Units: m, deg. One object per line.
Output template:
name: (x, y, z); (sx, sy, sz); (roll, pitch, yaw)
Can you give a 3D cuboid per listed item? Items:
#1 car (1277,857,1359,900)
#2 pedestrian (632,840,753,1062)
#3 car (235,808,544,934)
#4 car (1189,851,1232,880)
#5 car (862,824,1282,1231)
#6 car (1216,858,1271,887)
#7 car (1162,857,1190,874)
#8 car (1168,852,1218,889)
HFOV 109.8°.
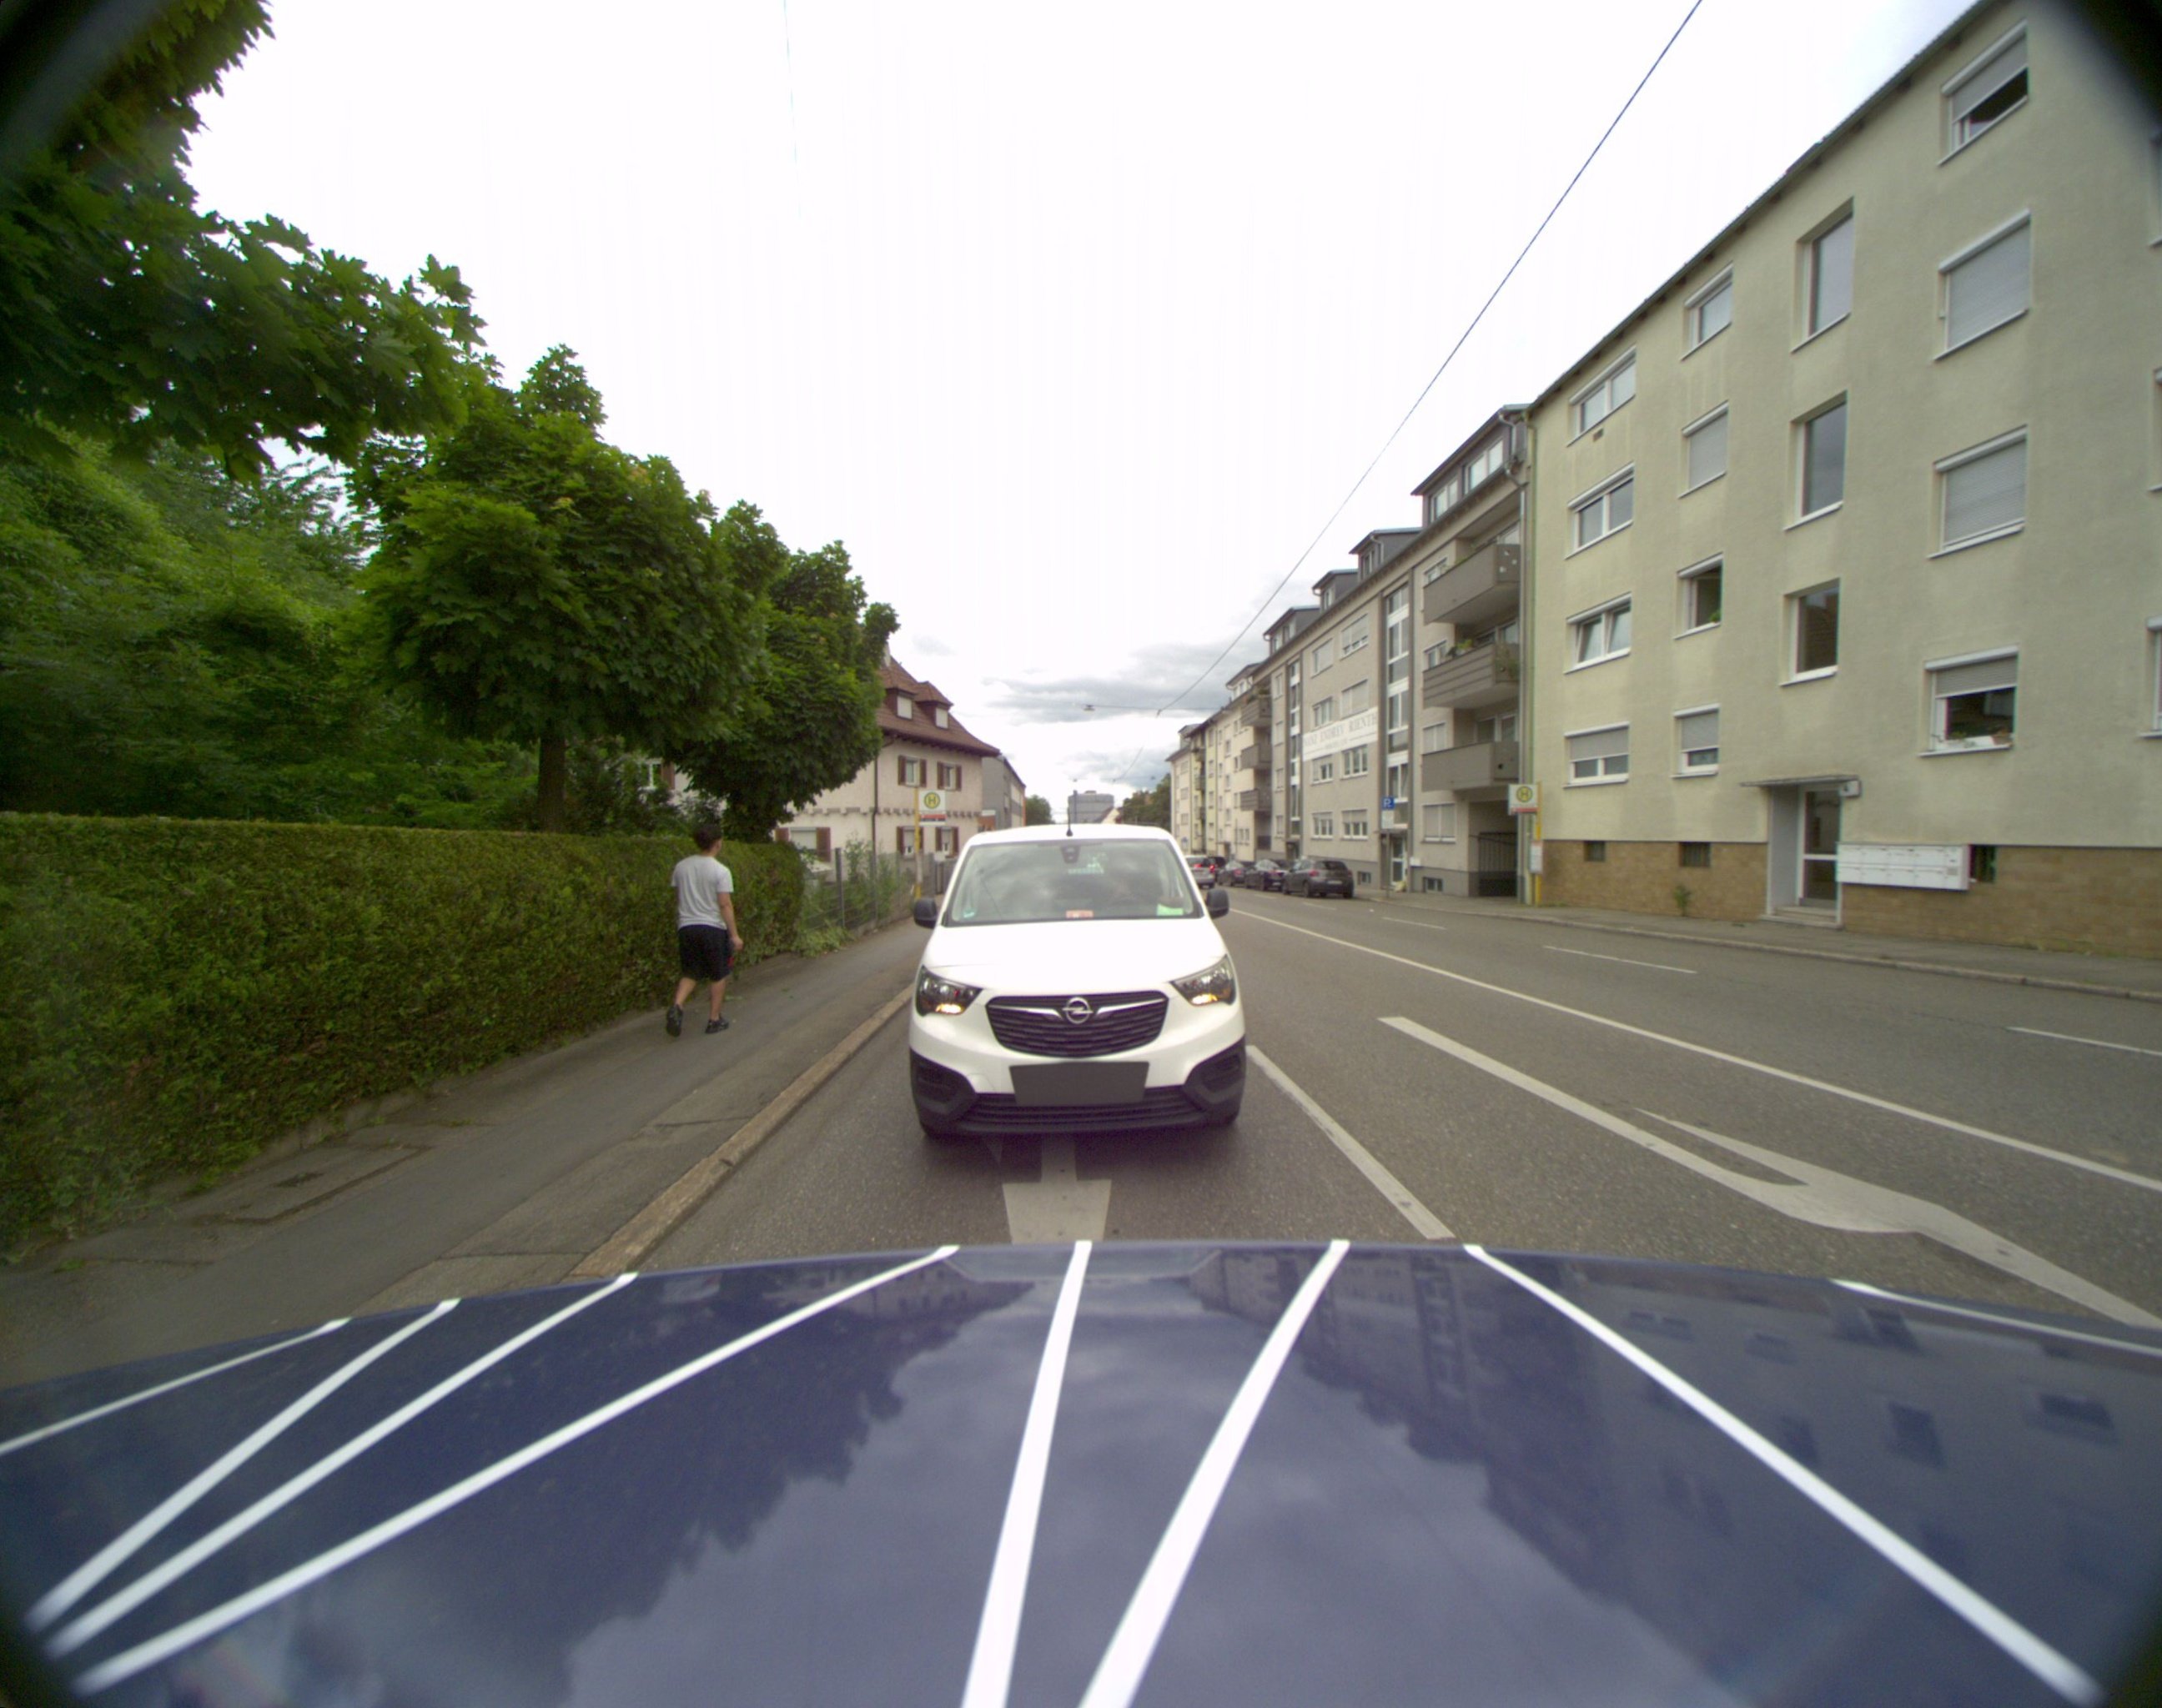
car: (8.900, 0.870, 28.847); (1.773, 1.428, 3.800); (1, 0, -2)
pedestrian: (-3.151, 0.763, 6.190); (0.695, 1.728, 0.467); (2, 1, -1)
car: (-12.790, 0.266, 14.264); (1.994, 2.002, 4.008); (-1, 0, 40)
car: (8.341, 0.712, 49.161); (1.875, 1.743, 4.306); (1, 0, -2)
car: (-0.093, 0.759, 5.404); (1.803, 1.736, 3.999); (-3, 1, -2)
car: (8.466, 0.948, 39.958); (1.773, 1.397, 4.306); (0, 0, -3)
car: (8.207, 0.983, 65.976); (1.875, 1.372, 4.307); (2, 0, 0)
car: (5.303, 0.748, 36.410); (1.713, 1.608, 3.999); (1, 0, -1)
